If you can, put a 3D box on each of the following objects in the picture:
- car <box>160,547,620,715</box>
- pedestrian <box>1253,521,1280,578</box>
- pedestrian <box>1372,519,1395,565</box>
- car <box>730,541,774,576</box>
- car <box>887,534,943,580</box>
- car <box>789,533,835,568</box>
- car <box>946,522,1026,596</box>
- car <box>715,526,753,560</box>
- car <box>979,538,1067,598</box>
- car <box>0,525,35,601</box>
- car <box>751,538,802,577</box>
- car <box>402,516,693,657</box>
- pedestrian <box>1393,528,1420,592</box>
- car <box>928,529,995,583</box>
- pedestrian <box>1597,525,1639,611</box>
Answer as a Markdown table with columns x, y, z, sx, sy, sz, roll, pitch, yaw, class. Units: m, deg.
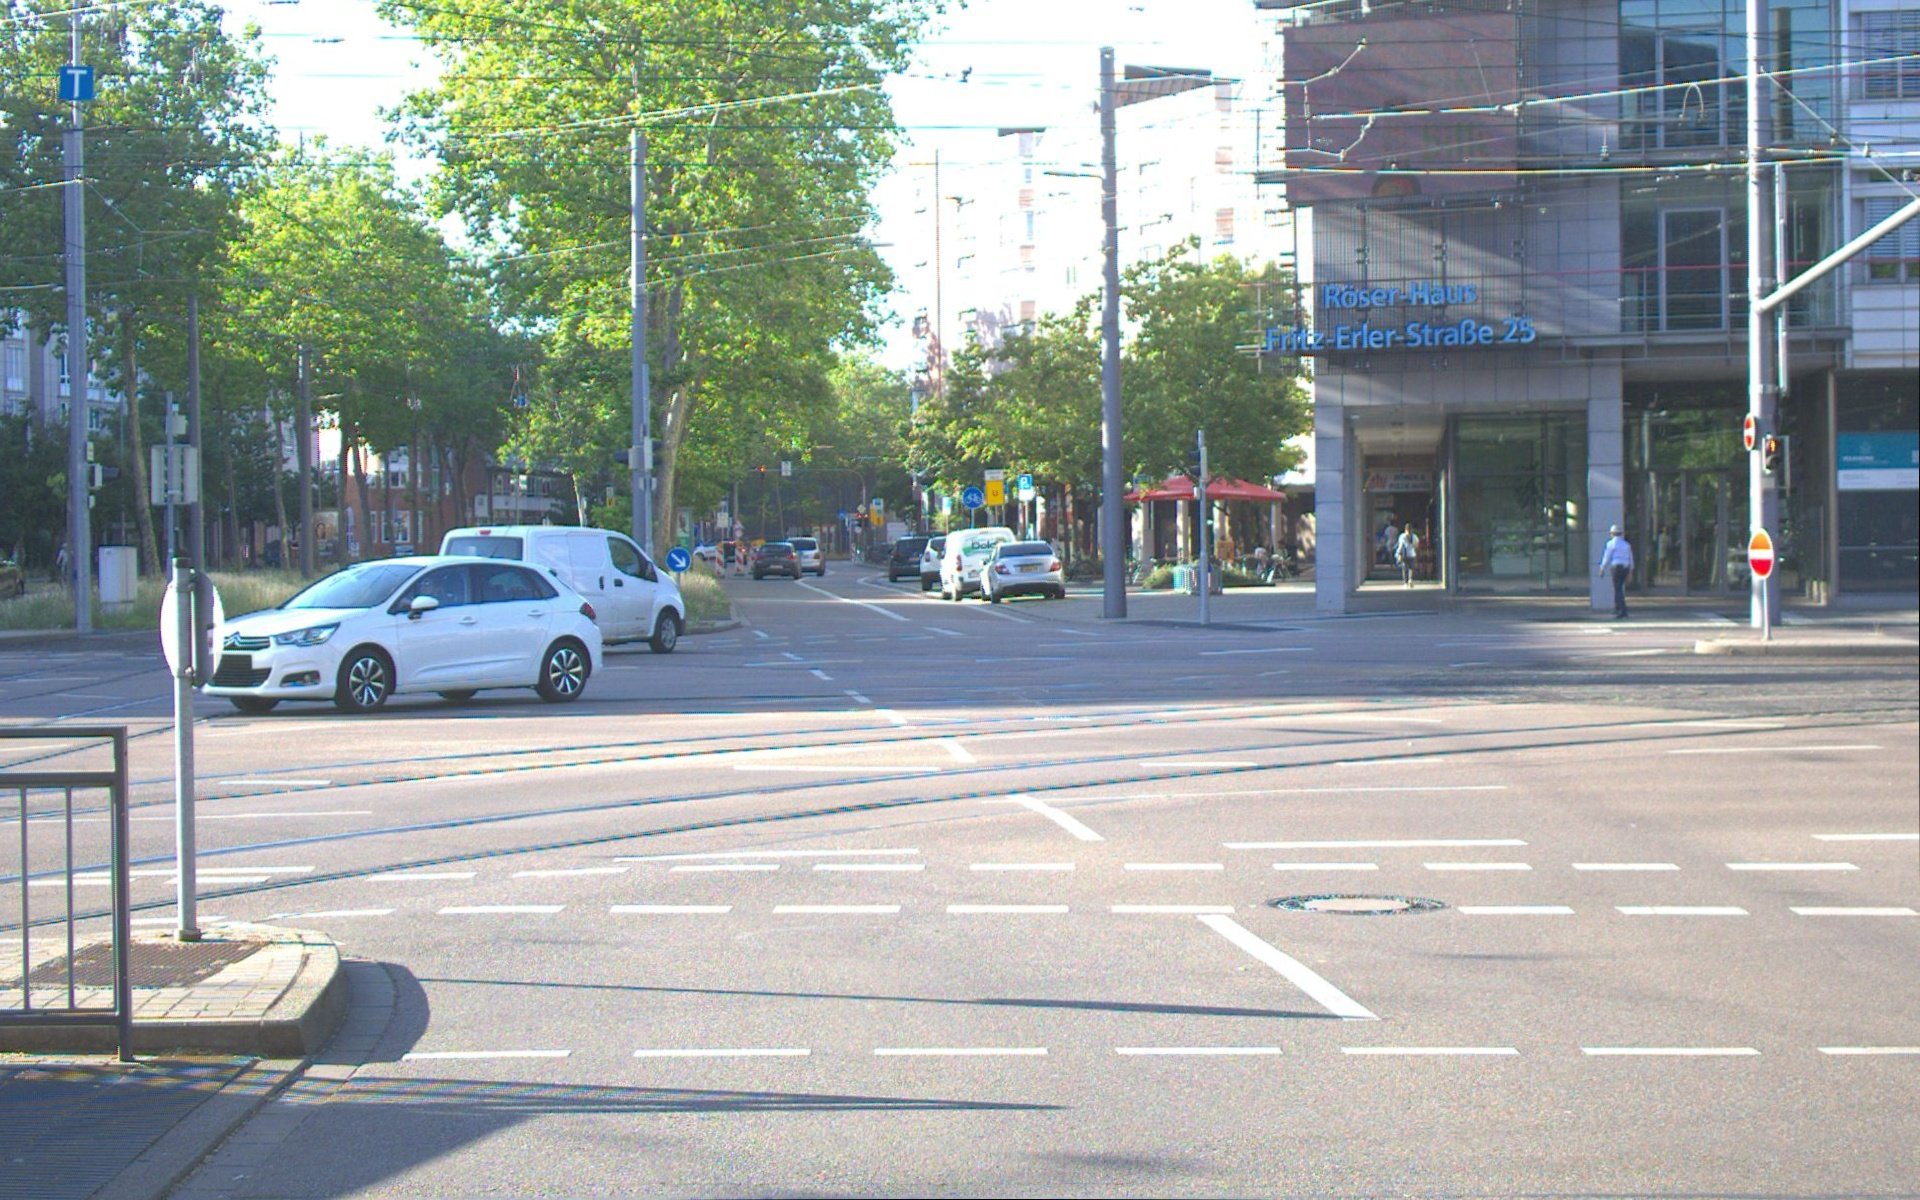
| x | y | z | sx | sy | sz | roll | pitch | yaw | class |
| --- | --- | --- | --- | --- | --- | --- | --- | --- | --- |
| -5.516 | 0.258 | 33.691 | 1.760 | 1.483 | 4.299 | 0 | 1 | 41 | car |
| 9.364 | -1.542 | 104.910 | 0.744 | 1.708 | 0.612 | -1 | 1 | -1 | pedestrian |
| 15.866 | -2.155 | 128.765 | 0.744 | 1.708 | 0.612 | -1 | 1 | -1 | pedestrian |
| -8.892 | -1.776 | 147.063 | 1.797 | 1.437 | 4.000 | 1 | 1 | -2 | car |
| -1.639 | -1.594 | 126.664 | 1.993 | 1.612 | 4.000 | -1 | 1 | 0 | car |
| -6.313 | -2.131 | 146.852 | 1.797 | 1.437 | 4.000 | -1 | 1 | -1 | car |
| 0.650 | -1.093 | 89.567 | 1.993 | 1.853 | 4.000 | -1 | 1 | -1 | car |
| -13.396 | -3.389 | 204.099 | 1.993 | 2.007 | 4.000 | -1 | 1 | -1 | car |
| 1.494 | -0.784 | 82.772 | 1.993 | 1.371 | 4.000 | -1 | 1 | -1 | car |
| -21.664 | -0.796 | 74.922 | 1.993 | 1.634 | 4.000 | -1 | 1 | -1 | car |
| -7.127 | -1.669 | 133.921 | 1.797 | 1.437 | 4.000 | -1 | 1 | -1 | car |
| -5.697 | -0.222 | 48.070 | 1.758 | 1.860 | 4.518 | 0 | 1 | 28 | car |
| 10.567 | -0.947 | 81.432 | 0.612 | 1.502 | 0.579 | -1 | 1 | 7 | pedestrian |
| 0.038 | -1.356 | 105.213 | 1.993 | 1.612 | 4.000 | -1 | 1 | 0 | car |
| 11.611 | -0.564 | 60.706 | 0.612 | 1.502 | 0.579 | -1 | 1 | 0 | pedestrian |
